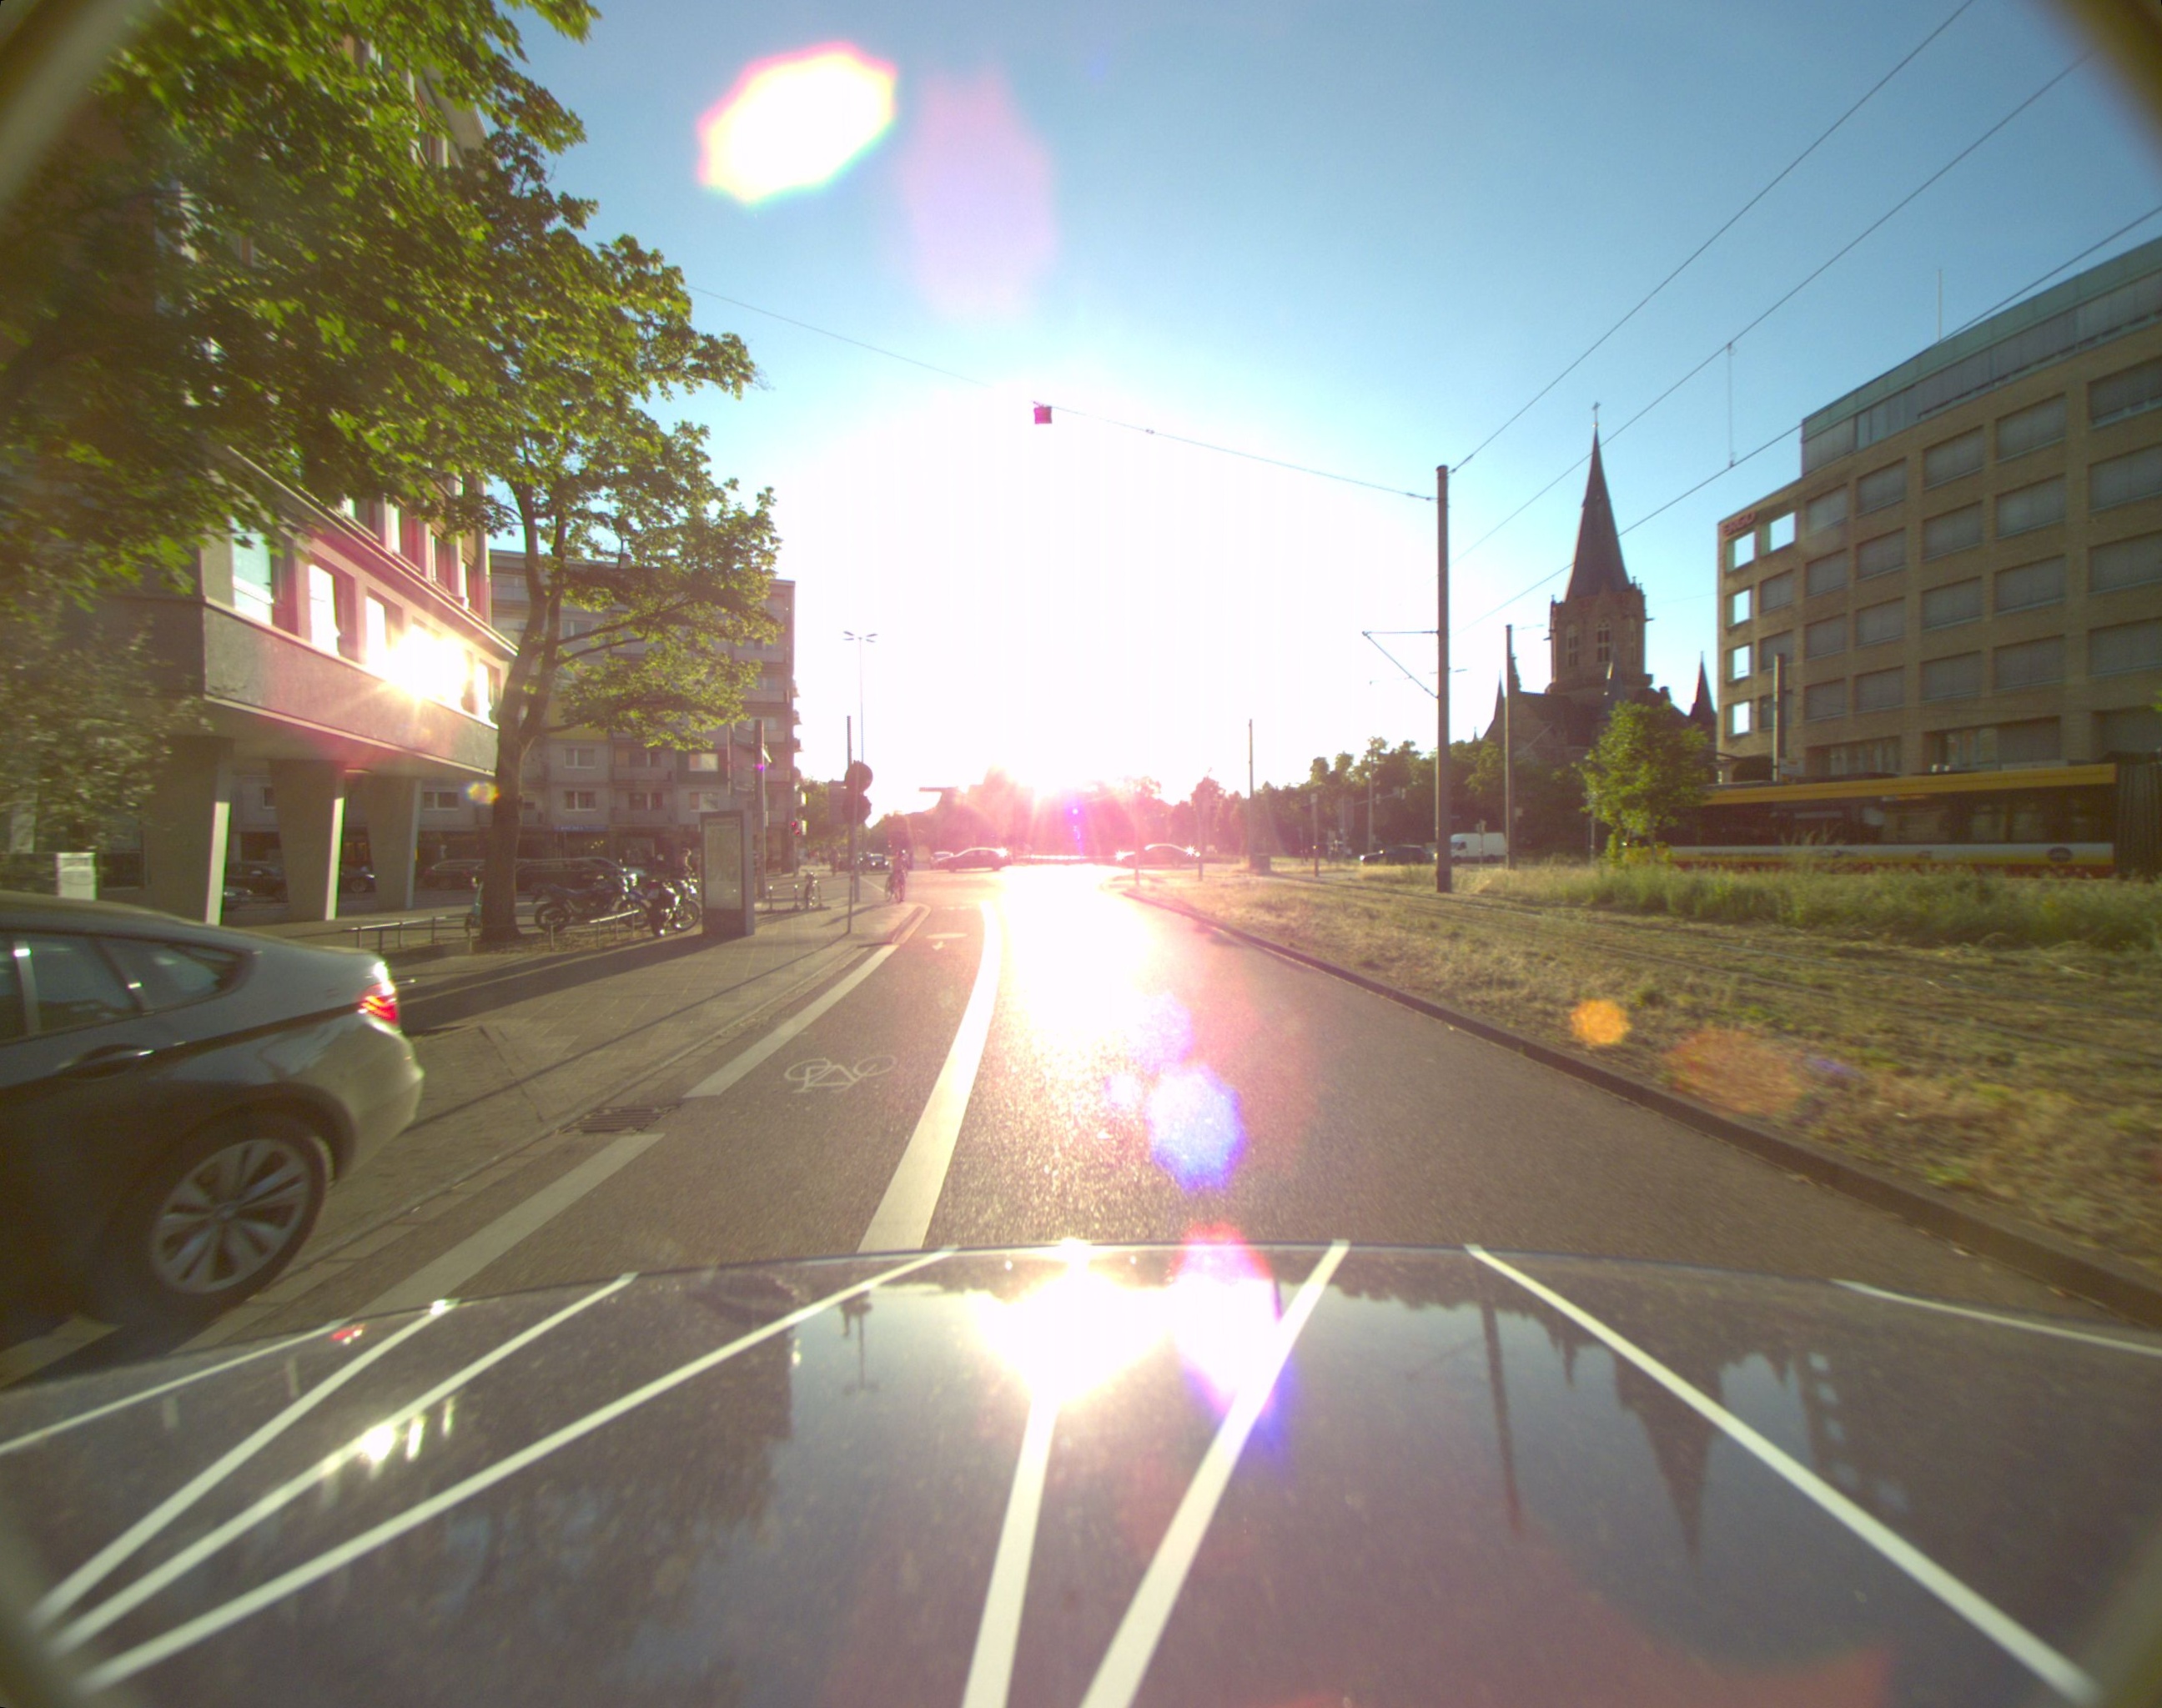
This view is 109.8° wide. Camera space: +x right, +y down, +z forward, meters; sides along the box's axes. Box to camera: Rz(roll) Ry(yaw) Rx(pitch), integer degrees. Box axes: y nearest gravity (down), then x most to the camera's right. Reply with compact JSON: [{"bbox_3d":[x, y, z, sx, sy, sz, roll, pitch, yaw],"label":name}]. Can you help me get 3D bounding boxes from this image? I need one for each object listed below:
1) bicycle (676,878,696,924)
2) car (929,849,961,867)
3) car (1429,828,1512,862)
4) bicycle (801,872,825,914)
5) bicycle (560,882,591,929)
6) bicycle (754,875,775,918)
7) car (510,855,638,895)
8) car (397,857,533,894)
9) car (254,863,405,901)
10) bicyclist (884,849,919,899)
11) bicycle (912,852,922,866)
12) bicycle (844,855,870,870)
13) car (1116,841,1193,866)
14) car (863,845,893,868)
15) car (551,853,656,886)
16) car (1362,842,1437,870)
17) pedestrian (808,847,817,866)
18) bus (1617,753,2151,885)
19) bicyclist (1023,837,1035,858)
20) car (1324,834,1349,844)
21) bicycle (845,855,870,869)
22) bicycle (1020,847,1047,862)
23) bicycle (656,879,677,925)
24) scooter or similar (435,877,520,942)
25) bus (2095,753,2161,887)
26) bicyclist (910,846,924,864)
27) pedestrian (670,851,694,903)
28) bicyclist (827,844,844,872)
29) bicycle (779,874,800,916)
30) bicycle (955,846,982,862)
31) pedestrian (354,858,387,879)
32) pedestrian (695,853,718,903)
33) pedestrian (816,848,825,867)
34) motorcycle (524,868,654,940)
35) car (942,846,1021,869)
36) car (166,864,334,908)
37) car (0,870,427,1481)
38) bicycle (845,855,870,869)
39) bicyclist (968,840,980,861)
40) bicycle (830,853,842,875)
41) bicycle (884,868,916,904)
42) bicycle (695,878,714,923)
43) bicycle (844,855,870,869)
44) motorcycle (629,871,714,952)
[{"bbox_3d":[-9.809,1.141,18.885,0.365,1.021,1.790,-2,1,-27],"label":"bicycle"},{"bbox_3d":[-12.035,0.375,67.054,1.958,1.485,3.951,-2,1,-22],"label":"car"},{"bbox_3d":[35.209,-0.813,68.640,7.208,2.861,2.305,-1,1,-20],"label":"car"},{"bbox_3d":[-7.152,1.026,20.264,0.361,1.021,1.790,-2,1,-26],"label":"bicycle"},{"bbox_3d":[-12.039,1.200,18.118,0.365,1.021,1.790,-2,1,-27],"label":"bicycle"},{"bbox_3d":[-8.270,1.086,19.847,0.361,1.021,1.790,-2,1,-26],"label":"bicycle"},{"bbox_3d":[-21.802,0.847,32.877,4.193,1.418,1.928,-2,3,-21],"label":"car"},{"bbox_3d":[-27.589,0.936,34.203,4.244,1.460,1.997,-2,1,-15],"label":"car"},{"bbox_3d":[-34.054,1.229,34.595,4.543,1.487,1.702,-2,1,-21],"label":"car"},{"bbox_3d":[-5.442,0.598,23.042,0.799,1.472,0.805,-2,1,-27],"label":"bicyclist"},{"bbox_3d":[-14.954,0.449,69.311,0.576,1.193,2.202,-2,1,-20],"label":"bicycle"},{"bbox_3d":[-18.004,0.648,61.163,1.959,1.114,0.457,-2,1,-18],"label":"bicycle"},{"bbox_3d":[4.947,-0.025,51.267,5.021,1.499,1.725,-2,1,4],"label":"car"},{"bbox_3d":[-18.788,0.249,70.208,2.002,2.002,3.992,-2,1,-24],"label":"car"},{"bbox_3d":[-23.978,0.761,38.286,4.014,1.460,1.917,-2,1,-15],"label":"car"},{"bbox_3d":[19.451,0.115,46.427,3.989,1.534,2.004,-2,1,31],"label":"car"},{"bbox_3d":[-30.024,0.290,85.004,0.718,1.997,0.647,6,-14,-19],"label":"pedestrian"},{"bbox_3d":[25.976,-0.953,26.196,3.764,3.436,12.110,-2,1,-22],"label":"bus"},{"bbox_3d":[-4.046,-0.498,58.694,0.734,1.559,0.822,-2,1,-15],"label":"bicyclist"},{"bbox_3d":[50.380,-3.047,150.006,4.120,1.811,2.004,-1,1,43],"label":"car"},{"bbox_3d":[-18.381,0.640,62.555,1.959,1.114,0.457,-2,1,-18],"label":"bicycle"},{"bbox_3d":[-3.667,0.037,58.797,1.973,1.175,0.490,-1,1,-16],"label":"bicycle"},{"bbox_3d":[-10.194,1.145,18.695,0.365,1.021,1.790,-2,1,-27],"label":"bicycle"},{"bbox_3d":[-12.920,1.156,16.314,0.309,1.256,1.527,-2,1,13],"label":"scooter or similar"},{"bbox_3d":[30.251,-0.920,15.597,3.764,3.312,10.716,-2,1,-23],"label":"bus"},{"bbox_3d":[-14.956,0.093,69.294,0.997,1.529,0.921,-2,1,-20],"label":"bicyclist"},{"bbox_3d":[-13.256,0.762,25.246,0.519,1.683,0.771,-1,1,-17],"label":"pedestrian"},{"bbox_3d":[-14.013,0.221,43.382,0.823,1.559,0.733,-2,1,-12],"label":"bicyclist"},{"bbox_3d":[-7.705,1.062,20.062,0.361,1.021,1.791,-2,1,-24],"label":"bicycle"},{"bbox_3d":[-8.664,0.022,58.391,1.973,1.175,0.489,-2,1,-19],"label":"bicycle"},{"bbox_3d":[-42.099,0.862,45.048,1.046,1.160,0.905,-2,1,6],"label":"pedestrian"},{"bbox_3d":[-12.581,0.782,25.532,0.519,1.635,0.706,-2,1,-17],"label":"pedestrian"},{"bbox_3d":[-29.169,0.421,85.090,0.656,1.999,0.751,6,-9,-19],"label":"pedestrian"},{"bbox_3d":[-10.234,1.008,15.905,2.150,1.346,0.642,-2,1,-21],"label":"motorcycle"},{"bbox_3d":[-6.532,0.187,49.750,5.044,1.428,1.876,0,2,-13],"label":"car"},{"bbox_3d":[-31.721,1.178,29.144,3.927,1.443,1.801,-2,1,-17],"label":"car"},{"bbox_3d":[-3.930,0.949,1.066,1.809,1.660,4.812,-2,0,0],"label":"car"},{"bbox_3d":[-18.525,0.635,63.079,1.959,1.114,0.457,-2,1,-18],"label":"bicycle"},{"bbox_3d":[-8.242,-0.274,58.509,0.734,1.559,0.822,-2,1,-19],"label":"bicyclist"},{"bbox_3d":[-13.970,0.562,43.333,0.490,1.175,1.969,-2,1,-13],"label":"bicycle"},{"bbox_3d":[-5.558,0.951,23.264,0.516,1.021,1.790,-2,1,-27],"label":"bicycle"},{"bbox_3d":[-9.456,1.139,19.075,0.361,1.021,1.790,-2,1,-26],"label":"bicycle"},{"bbox_3d":[-18.263,0.645,62.033,1.959,1.114,0.457,-2,1,-18],"label":"bicycle"},{"bbox_3d":[-7.641,1.020,14.295,0.643,1.336,2.200,-2,1,-8],"label":"motorcycle"}]
